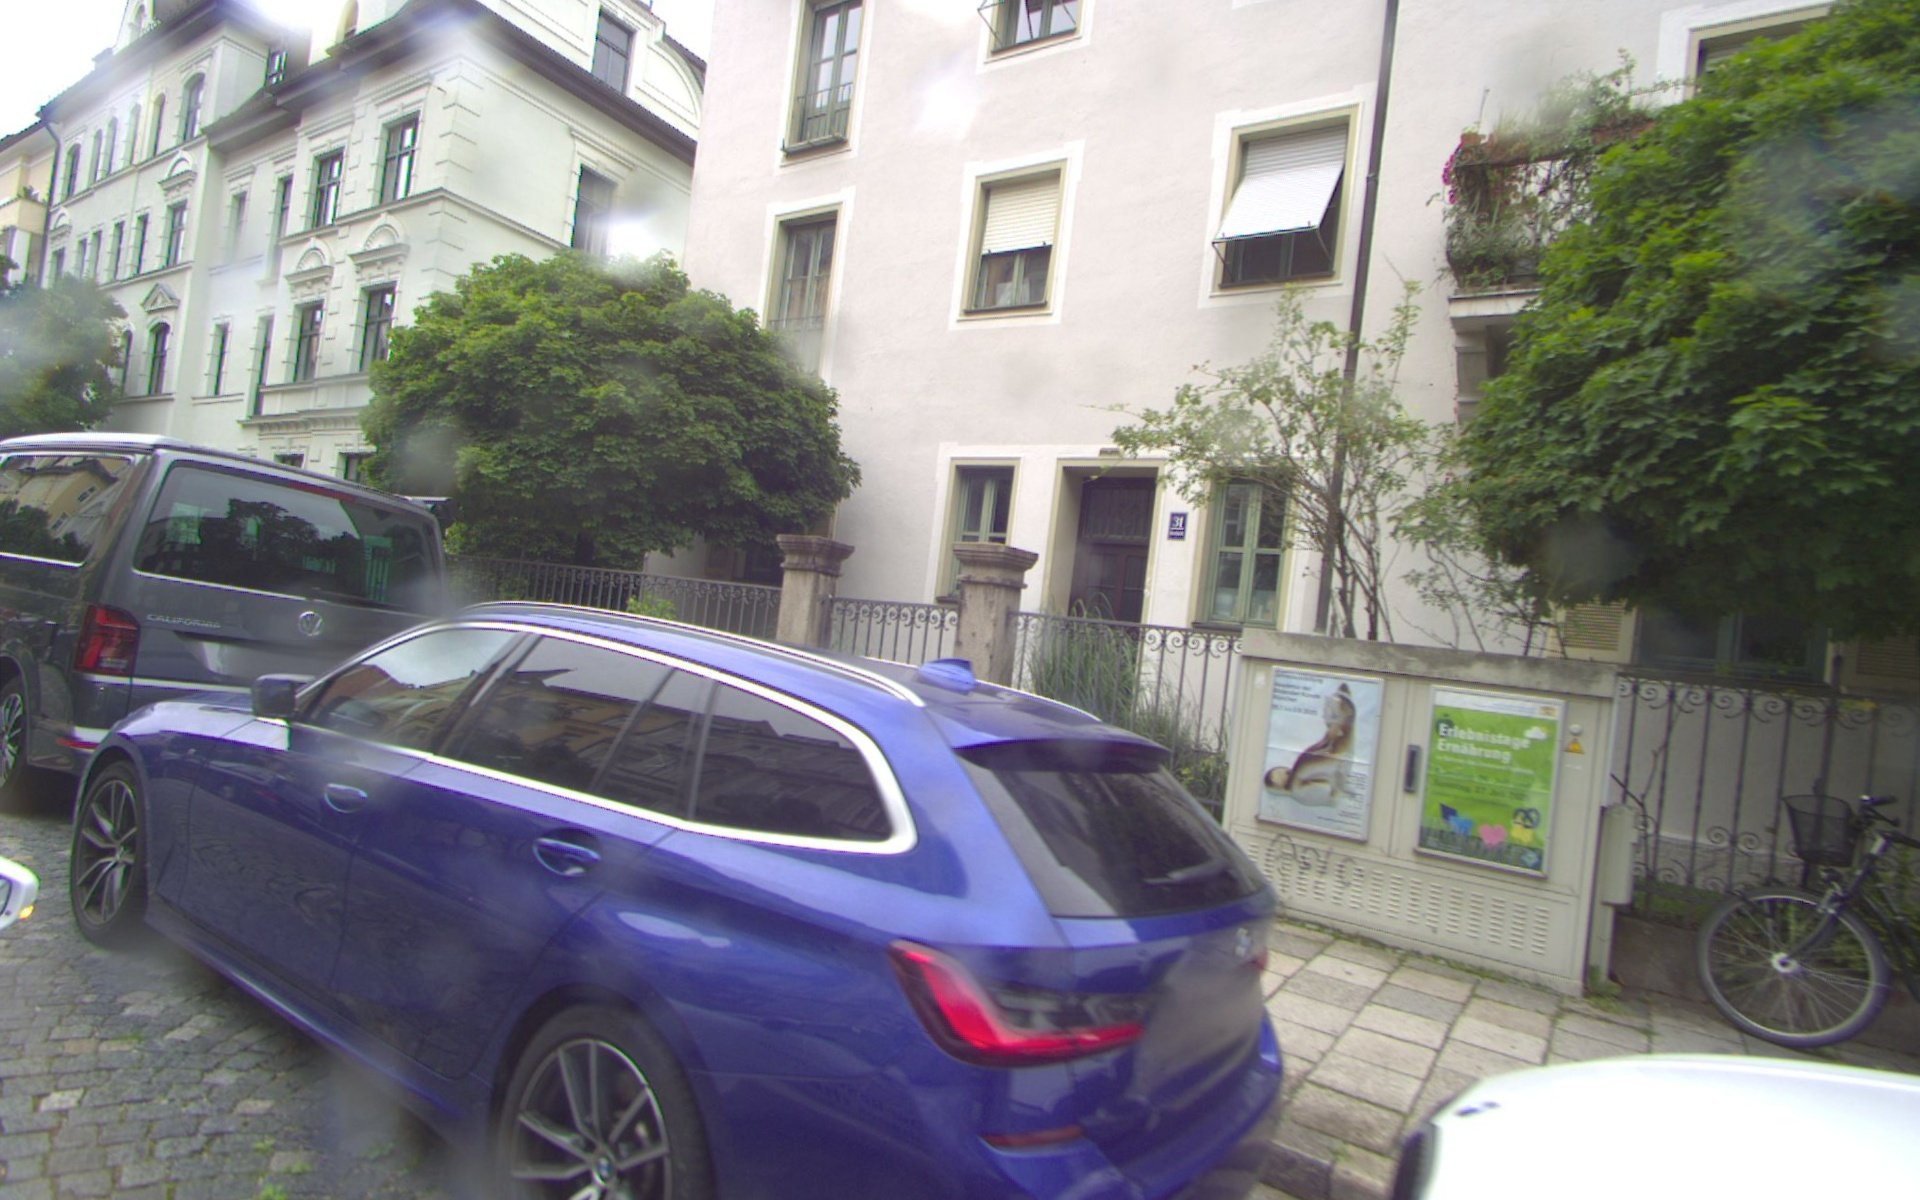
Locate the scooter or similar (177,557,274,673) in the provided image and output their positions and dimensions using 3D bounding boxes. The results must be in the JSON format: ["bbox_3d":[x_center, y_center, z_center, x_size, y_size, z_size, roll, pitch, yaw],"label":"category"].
[{"bbox_3d":[-9.352,0.184,12.859,0.622,1.349,1.594,5,-1,-25],"label":"scooter or similar"}]

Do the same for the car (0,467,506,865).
[{"bbox_3d":[-5.331,0.199,6.513,4.773,1.710,2.024,6,-2,34],"label":"car"}]

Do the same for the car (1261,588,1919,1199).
[{"bbox_3d":[2.854,1.095,0.618,4.844,1.547,1.912,6,-5,34],"label":"car"}]

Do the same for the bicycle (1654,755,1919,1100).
[{"bbox_3d":[4.210,1.457,4.341,1.888,1.290,0.467,5,-3,32],"label":"bicycle"}]

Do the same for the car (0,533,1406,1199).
[{"bbox_3d":[-1.274,0.783,3.472,4.798,1.522,1.934,5,-4,34],"label":"car"}]

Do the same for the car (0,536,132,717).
[{"bbox_3d":[-9.948,0.010,9.542,4.727,1.449,1.926,5,-5,35],"label":"car"}]
